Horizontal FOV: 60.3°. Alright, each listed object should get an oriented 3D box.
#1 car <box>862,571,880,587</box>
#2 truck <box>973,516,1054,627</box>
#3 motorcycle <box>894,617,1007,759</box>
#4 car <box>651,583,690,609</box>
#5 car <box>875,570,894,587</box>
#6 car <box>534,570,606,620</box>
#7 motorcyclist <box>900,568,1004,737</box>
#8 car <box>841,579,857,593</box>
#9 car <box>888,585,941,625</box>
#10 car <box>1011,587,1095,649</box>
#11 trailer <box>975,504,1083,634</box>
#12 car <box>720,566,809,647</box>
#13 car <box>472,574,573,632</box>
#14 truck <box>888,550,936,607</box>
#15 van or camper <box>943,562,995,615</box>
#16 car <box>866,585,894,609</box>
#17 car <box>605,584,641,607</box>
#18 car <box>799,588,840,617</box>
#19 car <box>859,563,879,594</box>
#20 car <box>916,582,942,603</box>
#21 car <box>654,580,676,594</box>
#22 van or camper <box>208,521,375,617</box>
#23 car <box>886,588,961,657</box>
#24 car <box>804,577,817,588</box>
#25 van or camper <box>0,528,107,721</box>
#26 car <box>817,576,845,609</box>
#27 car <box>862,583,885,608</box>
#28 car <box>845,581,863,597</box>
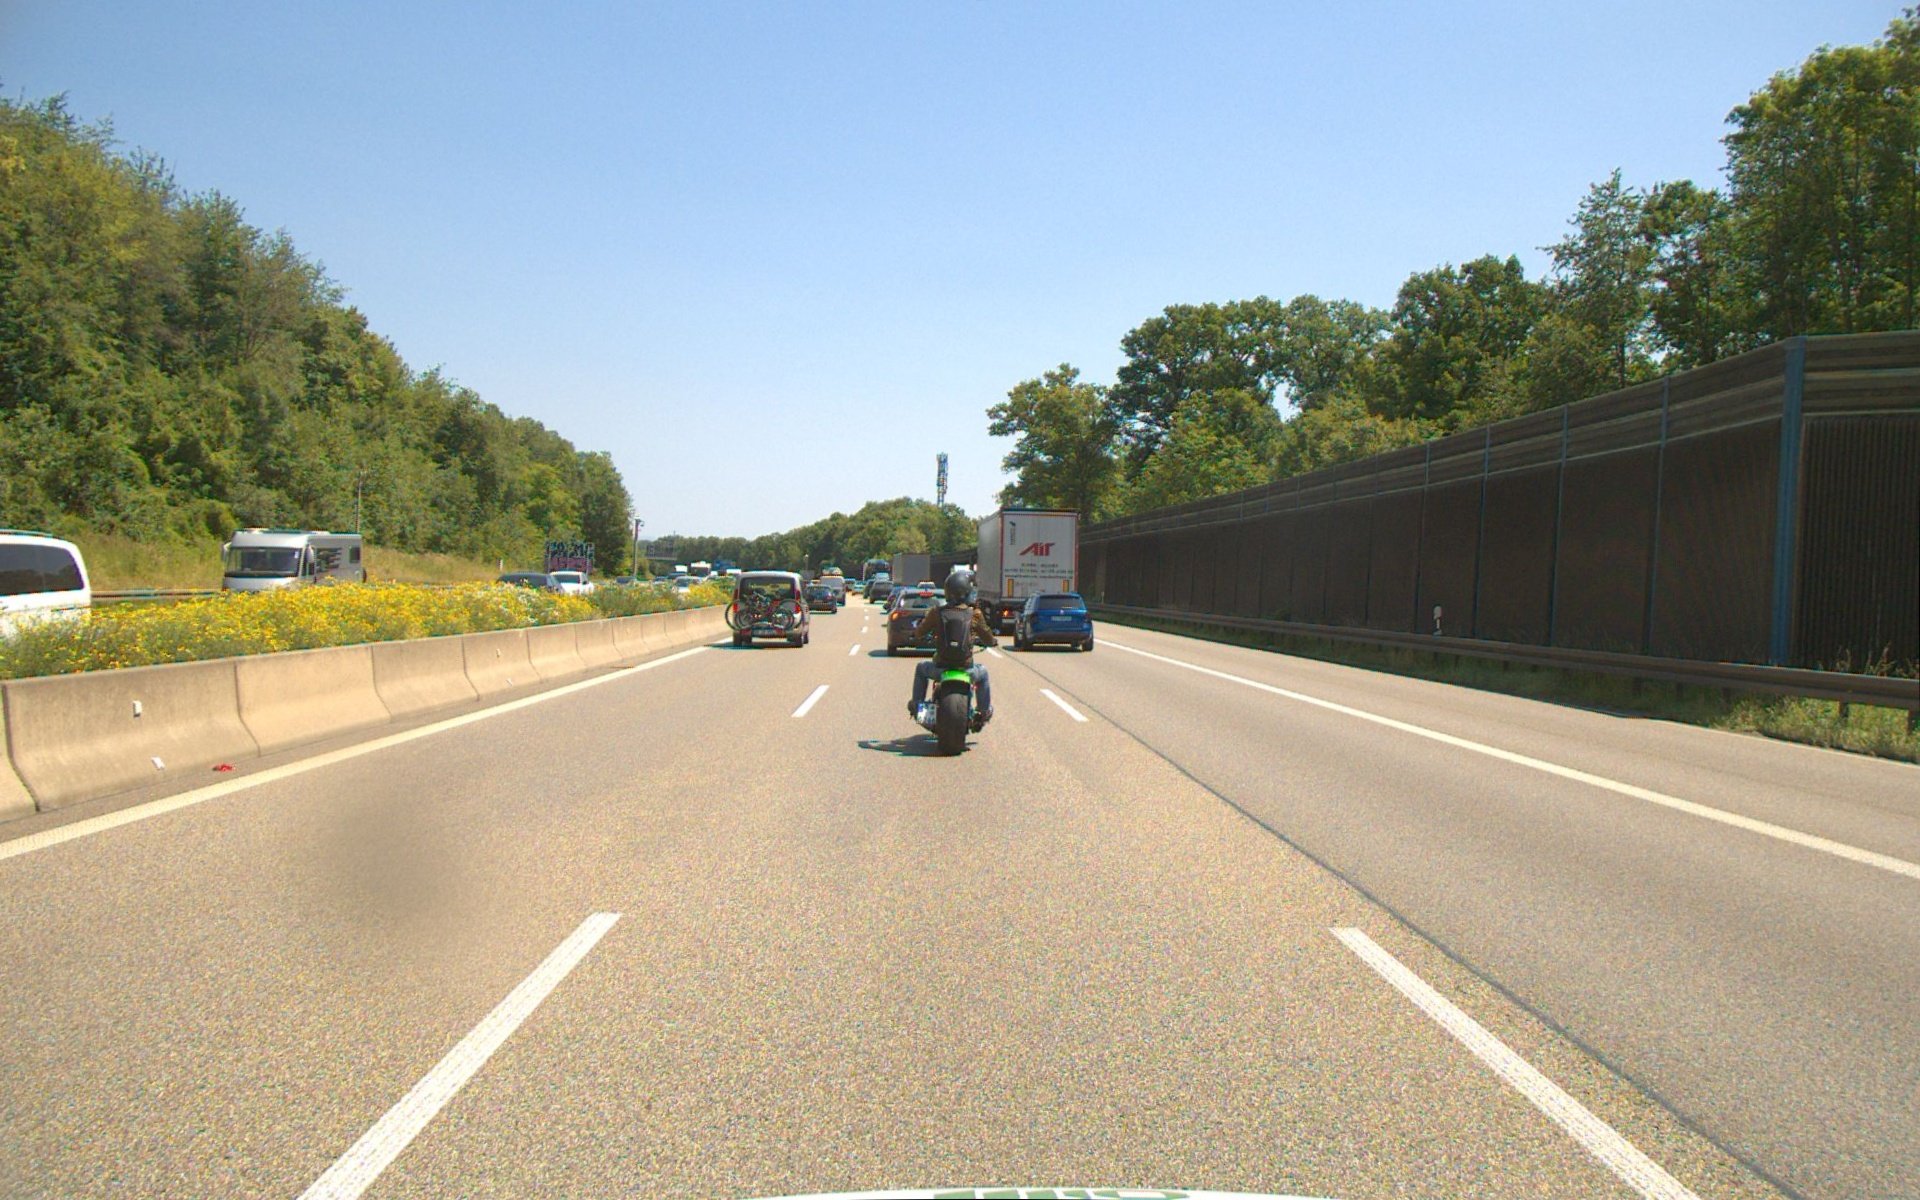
[{"bbox_3d":[-11.148,-2.575,206.327,2.066,1.909,3.996,1,-1,-5],"label":"car"},{"bbox_3d":[2.072,-1.116,66.501,2.827,4.218,5.984,1,0,-2],"label":"truck"},{"bbox_3d":[-0.042,0.786,15.892,0.944,1.168,2.812,1,0,2],"label":"motorcycle"},{"bbox_3d":[-18.997,-0.249,108.692,1.953,1.618,4.160,1,-1,-2],"label":"car"},{"bbox_3d":[-9.165,-2.617,200.744,2.066,1.909,3.996,1,-1,-5],"label":"car"},{"bbox_3d":[-16.742,-0.196,71.204,1.953,2.049,4.567,1,-1,0],"label":"car"},{"bbox_3d":[-0.045,0.477,15.669,0.881,1.501,1.872,1,-1,2],"label":"motorcyclist"},{"bbox_3d":[-13.147,-1.677,196.505,1.796,1.522,3.741,1,-1,-3],"label":"car"},{"bbox_3d":[-1.755,0.216,63.334,1.953,1.455,3.845,1,-1,-2],"label":"car"},{"bbox_3d":[2.341,0.457,42.656,1.618,1.508,4.477,1,-1,-4],"label":"car"},{"bbox_3d":[2.274,-1.047,59.616,2.827,4.109,13.790,1,0,-2],"label":"trailer"},{"bbox_3d":[-4.820,0.179,41.359,1.861,1.906,4.410,1,-1,-3],"label":"car"},{"bbox_3d":[-12.200,0.071,46.303,1.771,1.512,3.856,1,0,0],"label":"car"},{"bbox_3d":[-4.485,-1.878,152.594,3.729,5.047,8.940,1,-1,-6],"label":"truck"},{"bbox_3d":[0.444,-0.603,95.234,2.631,2.862,6.799,1,-1,-3],"label":"van or camper"},{"bbox_3d":[-5.716,-0.220,118.098,1.954,1.669,3.997,1,-1,-3],"label":"car"},{"bbox_3d":[-22.936,-0.284,112.835,1.752,1.482,3.998,1,-1,-2],"label":"car"},{"bbox_3d":[-7.042,0.143,83.203,1.954,1.411,3.997,1,-1,-3],"label":"car"},{"bbox_3d":[-11.907,-2.813,215.864,2.092,3.929,8.132,1,0,-6],"label":"car"},{"bbox_3d":[-2.537,-0.598,136.580,1.954,1.601,3.997,1,-1,-4],"label":"car"},{"bbox_3d":[-32.372,-1.413,181.833,1.954,1.457,4.188,1,0,-4],"label":"car"},{"bbox_3d":[-19.430,-0.801,48.524,2.141,2.605,6.930,1,-1,-1],"label":"van or camper"},{"bbox_3d":[-0.860,0.515,38.066,1.629,1.478,3.867,1,-1,-2],"label":"car"},{"bbox_3d":[-22.398,-2.656,247.487,1.798,1.522,3.736,1,-1,-8],"label":"car"},{"bbox_3d":[-11.085,0.250,17.496,1.845,2.049,4.586,1,-1,-2],"label":"van or camper"},{"bbox_3d":[-8.260,-0.488,106.151,1.756,2.049,3.639,1,-1,-4],"label":"car"},{"bbox_3d":[-7.539,-0.392,143.997,1.874,2.049,3.687,1,-1,-5],"label":"car"},{"bbox_3d":[-10.797,-1.090,169.323,1.796,1.522,3.741,1,-1,-3],"label":"car"}]
